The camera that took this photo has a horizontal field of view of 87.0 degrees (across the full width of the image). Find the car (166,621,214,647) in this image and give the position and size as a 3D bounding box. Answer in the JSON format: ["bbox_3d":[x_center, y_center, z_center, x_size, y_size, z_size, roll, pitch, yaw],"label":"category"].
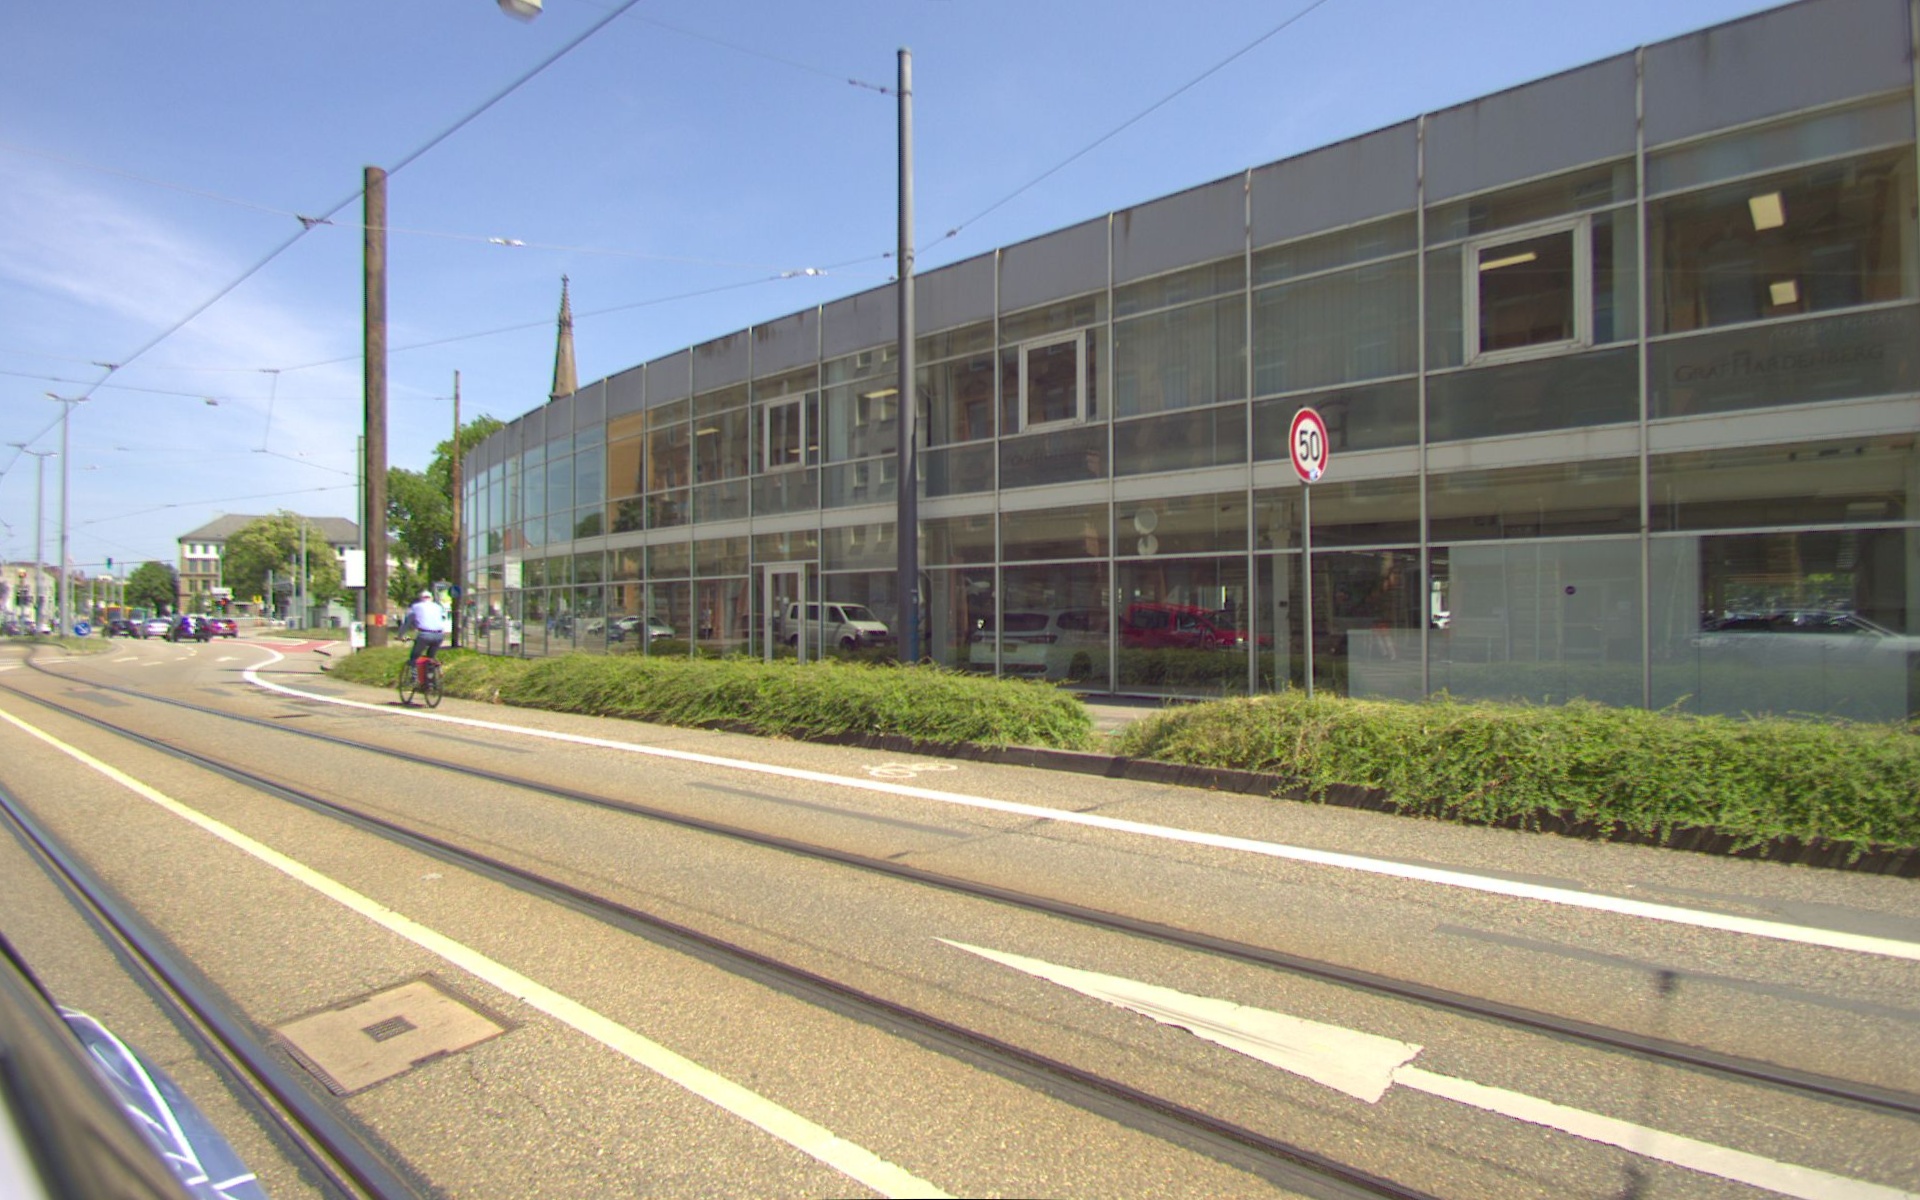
[{"bbox_3d":[-49.359,2.176,64.808,4.527,1.639,1.801,-1,-3,45],"label":"car"}]

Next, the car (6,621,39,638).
[{"bbox_3d":[-82.992,2.628,89.545,4.330,1.491,1.823,-2,-3,43],"label":"car"}]

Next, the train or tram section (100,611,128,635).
[{"bbox_3d":[-118.084,3.163,141.331,2.798,3.238,9.126,1,-2,-39],"label":"train or tram section"}]

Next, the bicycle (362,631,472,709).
[{"bbox_3d":[-8.724,1.074,16.207,2.494,1.153,0.690,-1,-2,41],"label":"bicycle"}]

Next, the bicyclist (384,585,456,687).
[{"bbox_3d":[-8.572,0.557,16.075,0.979,1.560,0.691,-1,-2,41],"label":"bicyclist"}]

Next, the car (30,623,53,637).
[{"bbox_3d":[-104.393,3.431,115.020,3.677,1.548,1.532,-1,-1,41],"label":"car"}]

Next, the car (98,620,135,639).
[{"bbox_3d":[-67.520,2.374,80.977,3.902,1.473,1.653,-1,-2,42],"label":"car"}]

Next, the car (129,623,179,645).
[{"bbox_3d":[-58.677,2.452,73.641,5.130,1.542,1.972,-1,-3,42],"label":"car"}]

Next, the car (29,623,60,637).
[{"bbox_3d":[-87.984,2.873,97.273,4.201,1.309,1.689,-1,-3,41],"label":"car"}]

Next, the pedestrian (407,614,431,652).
[{"bbox_3d":[-24.110,1.469,45.078,0.719,1.654,0.821,1,-2,-45],"label":"pedestrian"}]

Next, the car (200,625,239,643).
[{"bbox_3d":[-59.445,2.734,81.209,4.289,1.377,1.738,-1,-1,43],"label":"car"}]
